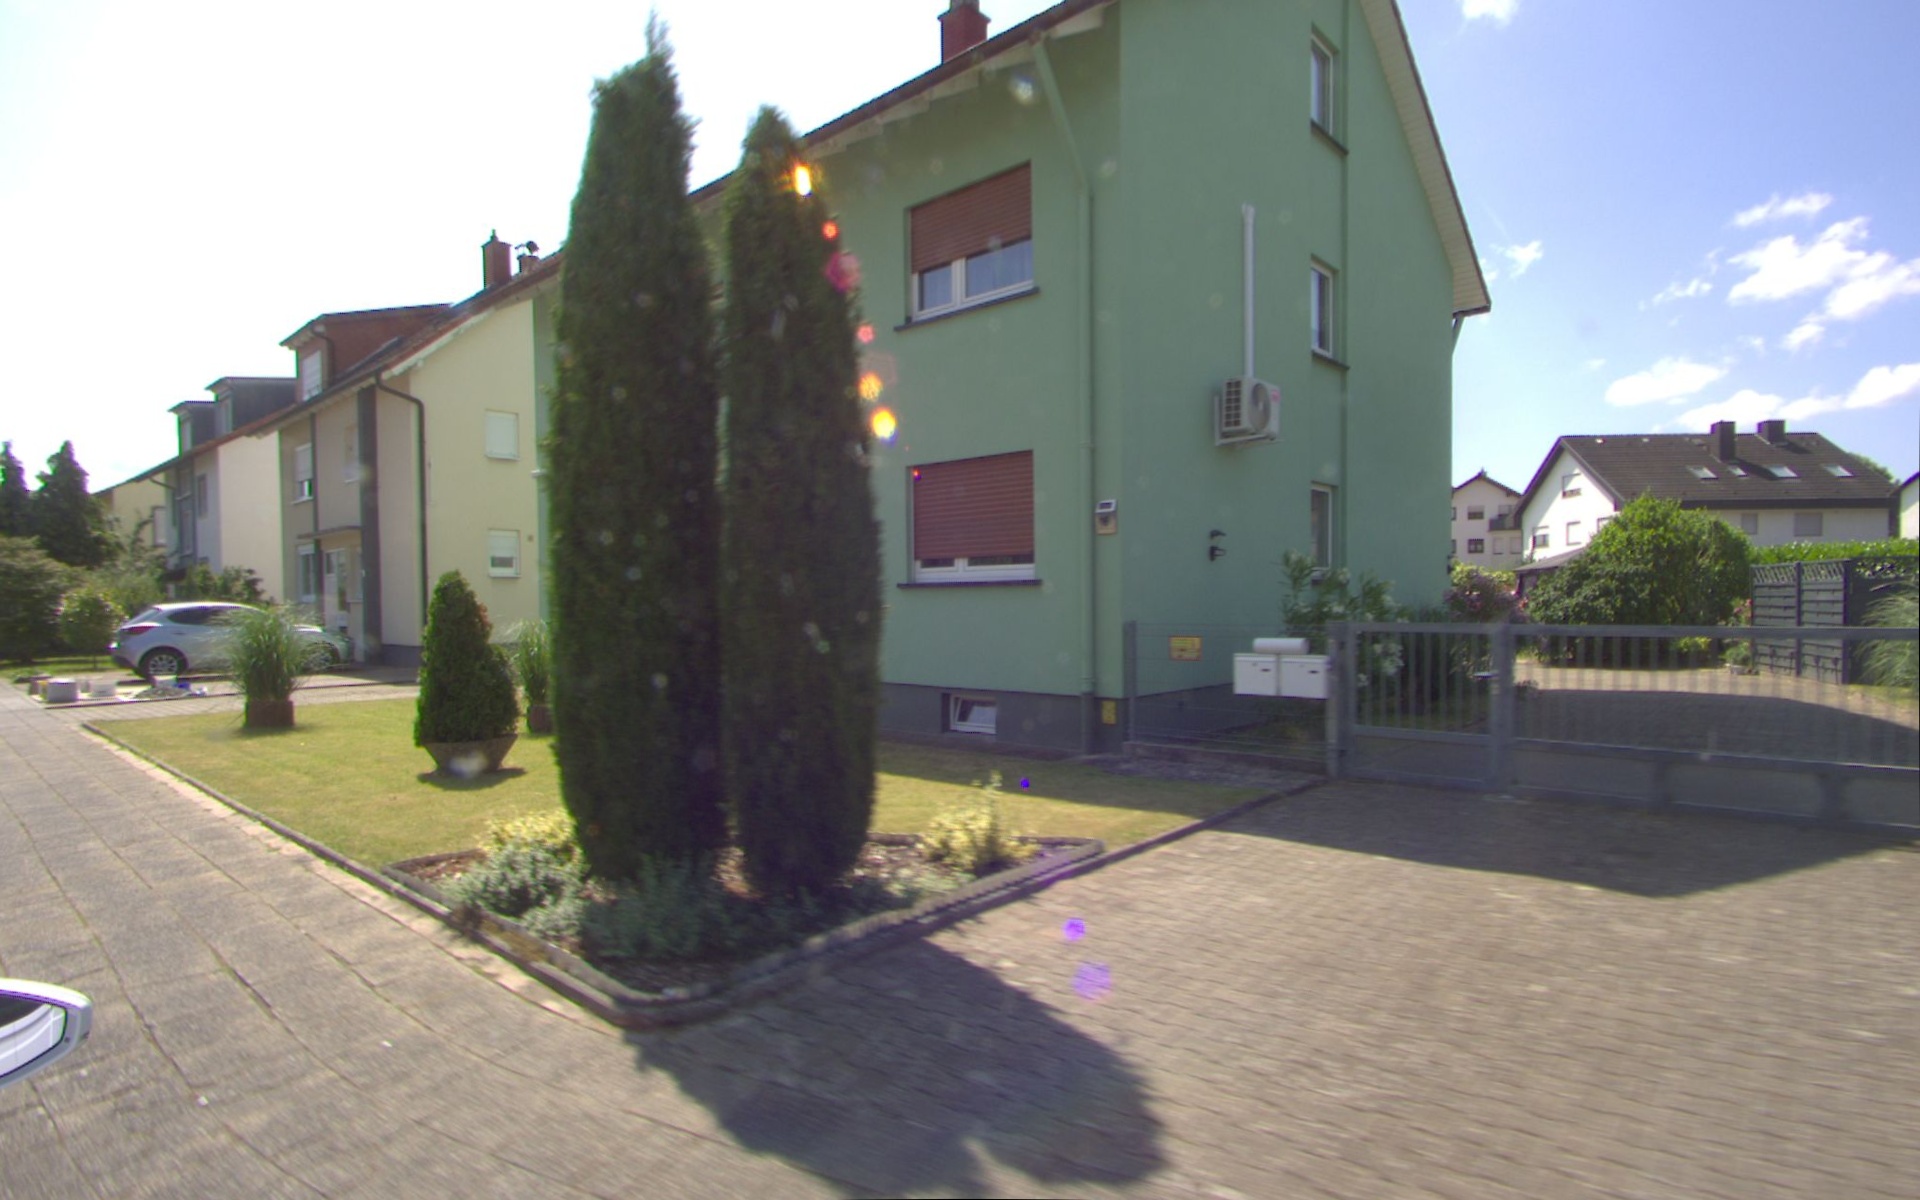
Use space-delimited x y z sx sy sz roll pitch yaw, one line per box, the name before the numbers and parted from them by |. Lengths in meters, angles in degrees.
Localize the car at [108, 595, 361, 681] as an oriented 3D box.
car | -14.693 0.686 20.428 1.754 1.530 3.891 0 1 43
